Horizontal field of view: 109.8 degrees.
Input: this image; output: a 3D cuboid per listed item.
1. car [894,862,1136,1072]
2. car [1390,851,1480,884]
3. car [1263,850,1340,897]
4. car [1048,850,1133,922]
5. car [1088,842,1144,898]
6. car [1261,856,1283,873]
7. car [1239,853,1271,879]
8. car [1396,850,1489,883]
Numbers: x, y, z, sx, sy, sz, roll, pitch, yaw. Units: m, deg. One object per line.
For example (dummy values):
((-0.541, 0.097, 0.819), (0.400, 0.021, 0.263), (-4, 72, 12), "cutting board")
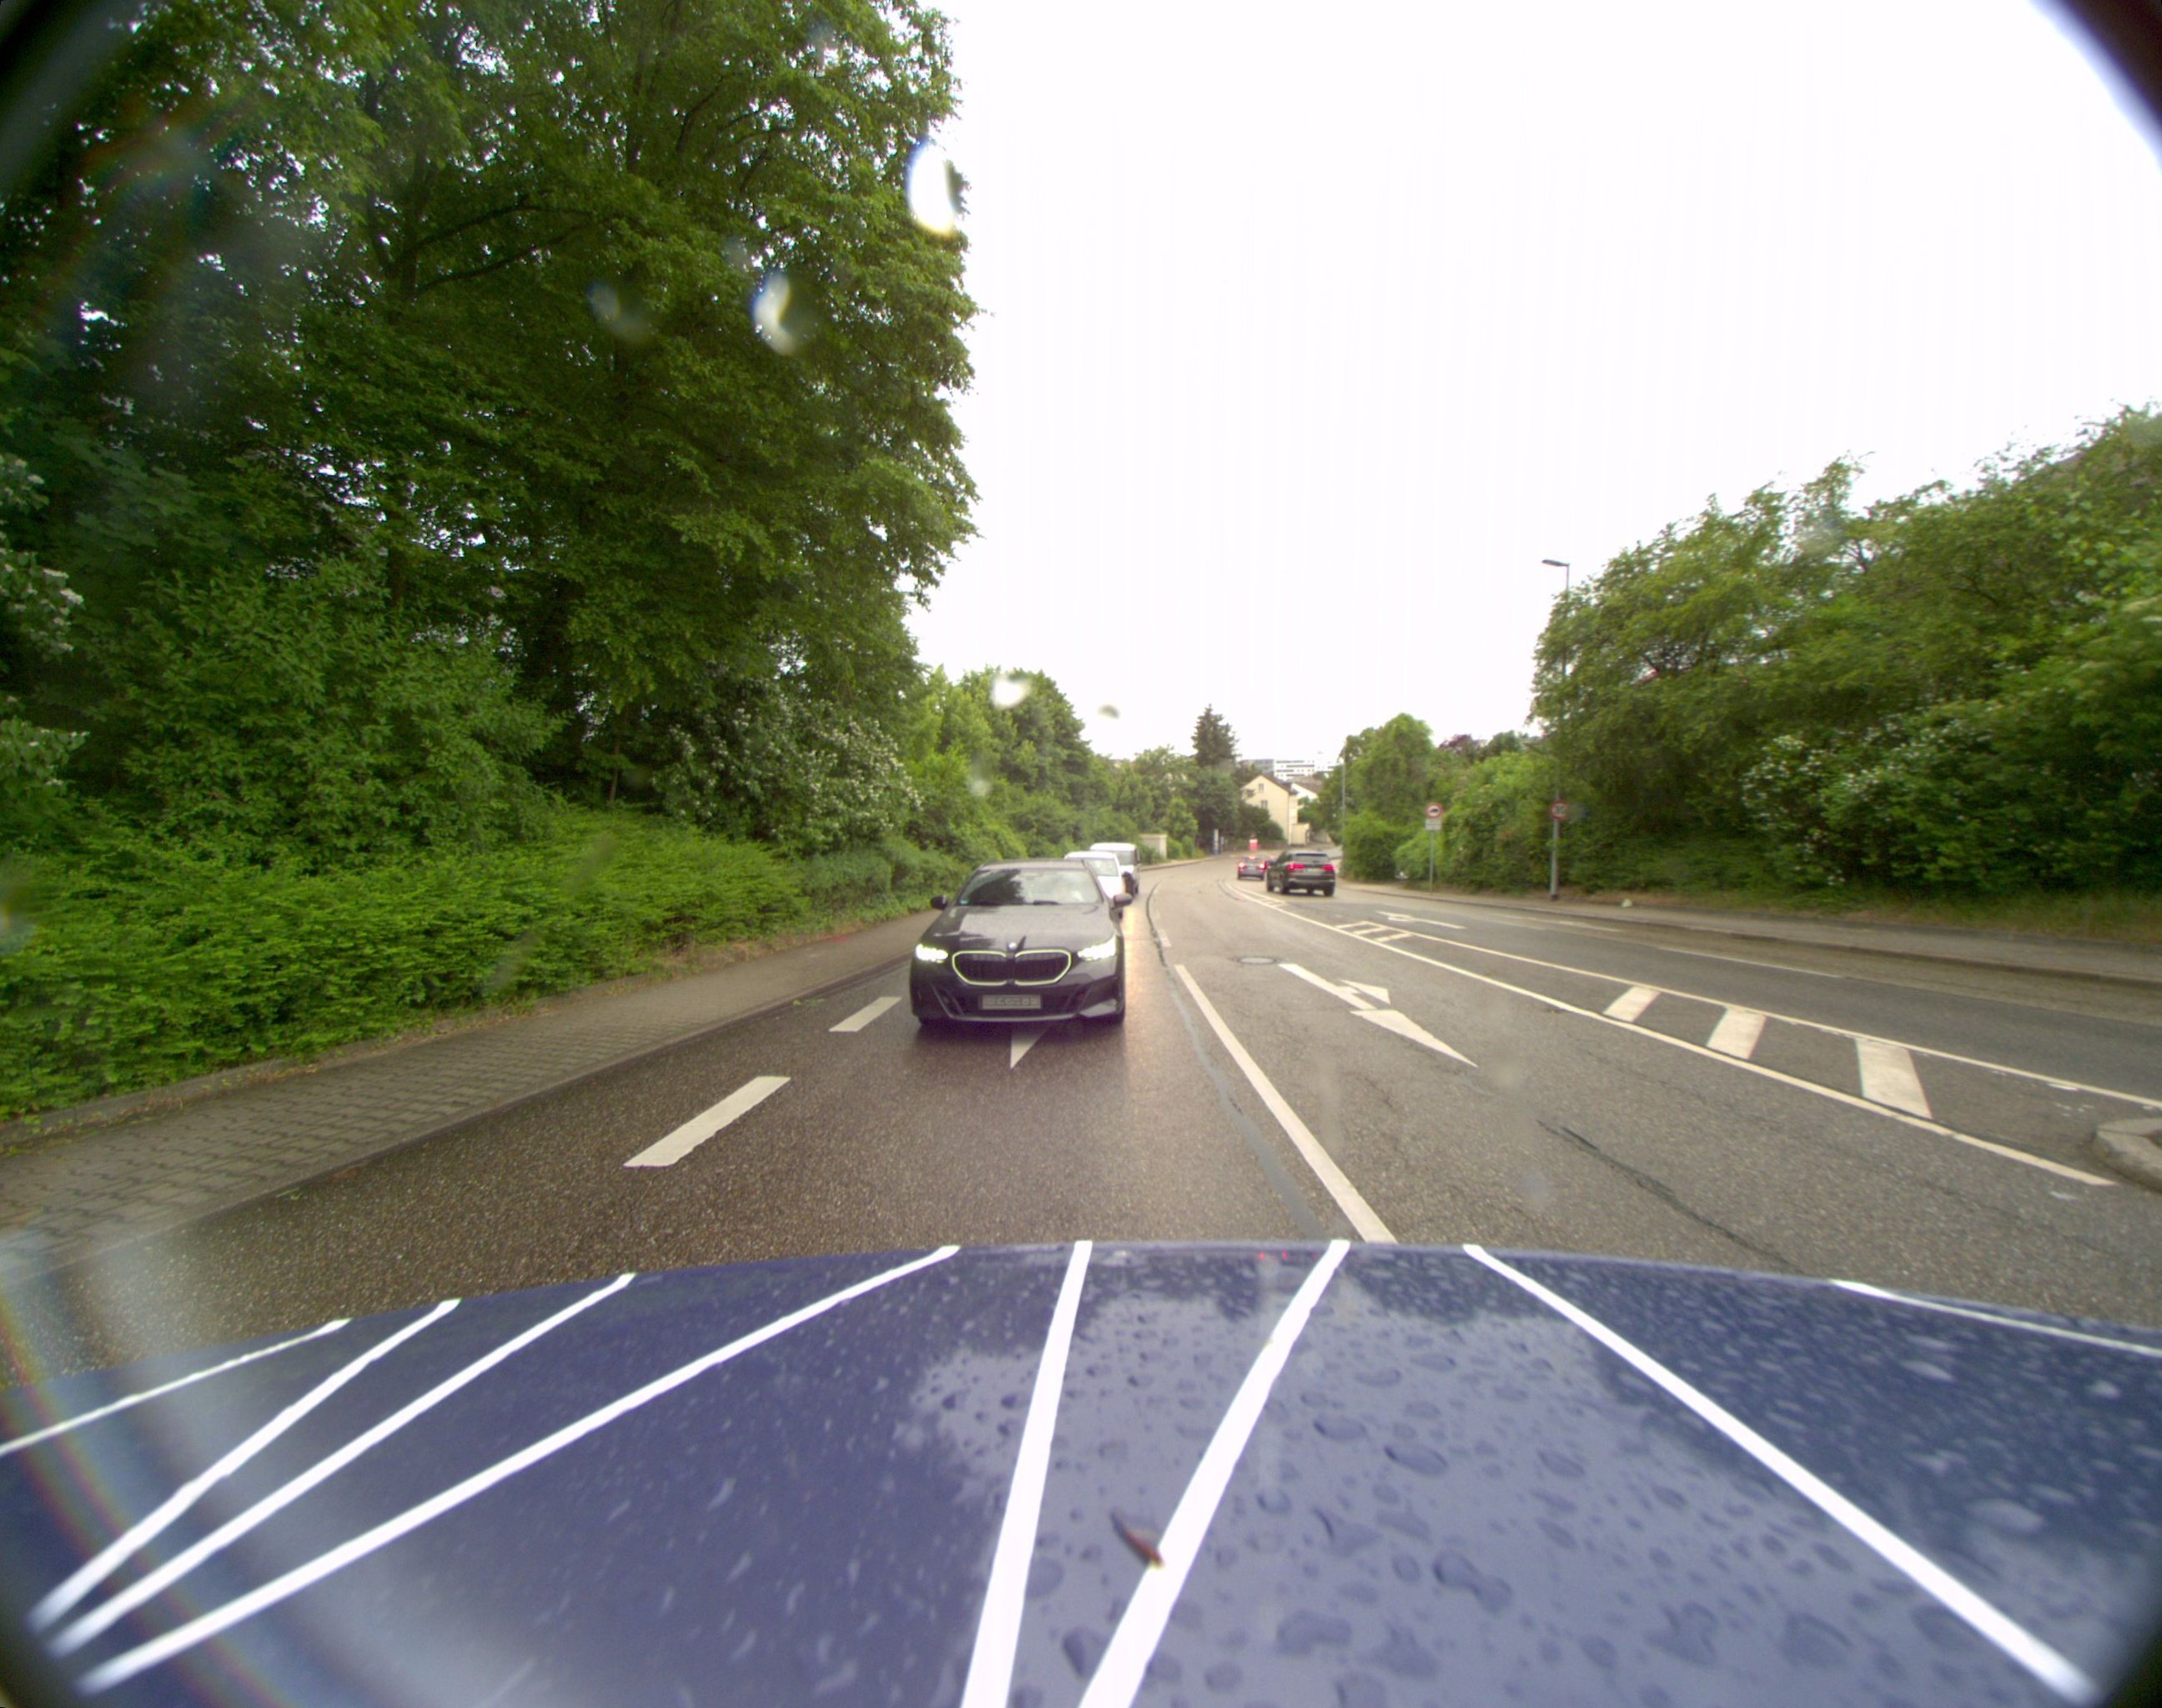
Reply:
((-0.462, 0.907, 8.029), (1.872, 1.497, 4.197), (1, 1, 2), "car")
((19.447, 0.742, 41.865), (3.995, 1.527, 2.001), (-4, 0, 8), "car")
((8.758, 0.706, 30.604), (1.998, 1.707, 4.718), (0, 0, 4), "car")
((0.226, 0.707, 18.849), (1.818, 1.431, 3.999), (3, 2, 0), "car")
((1.294, 0.492, 26.647), (1.777, 1.765, 4.000), (1, 2, 5), "car")
((18.024, 0.966, 71.794), (1.898, 1.500, 4.004), (1, 0, 13), "car")
((11.564, 0.771, 50.350), (1.744, 1.593, 4.037), (1, 0, 17), "car")
((18.540, 0.621, 39.153), (3.908, 1.432, 1.812), (-4, 0, 9), "car")
